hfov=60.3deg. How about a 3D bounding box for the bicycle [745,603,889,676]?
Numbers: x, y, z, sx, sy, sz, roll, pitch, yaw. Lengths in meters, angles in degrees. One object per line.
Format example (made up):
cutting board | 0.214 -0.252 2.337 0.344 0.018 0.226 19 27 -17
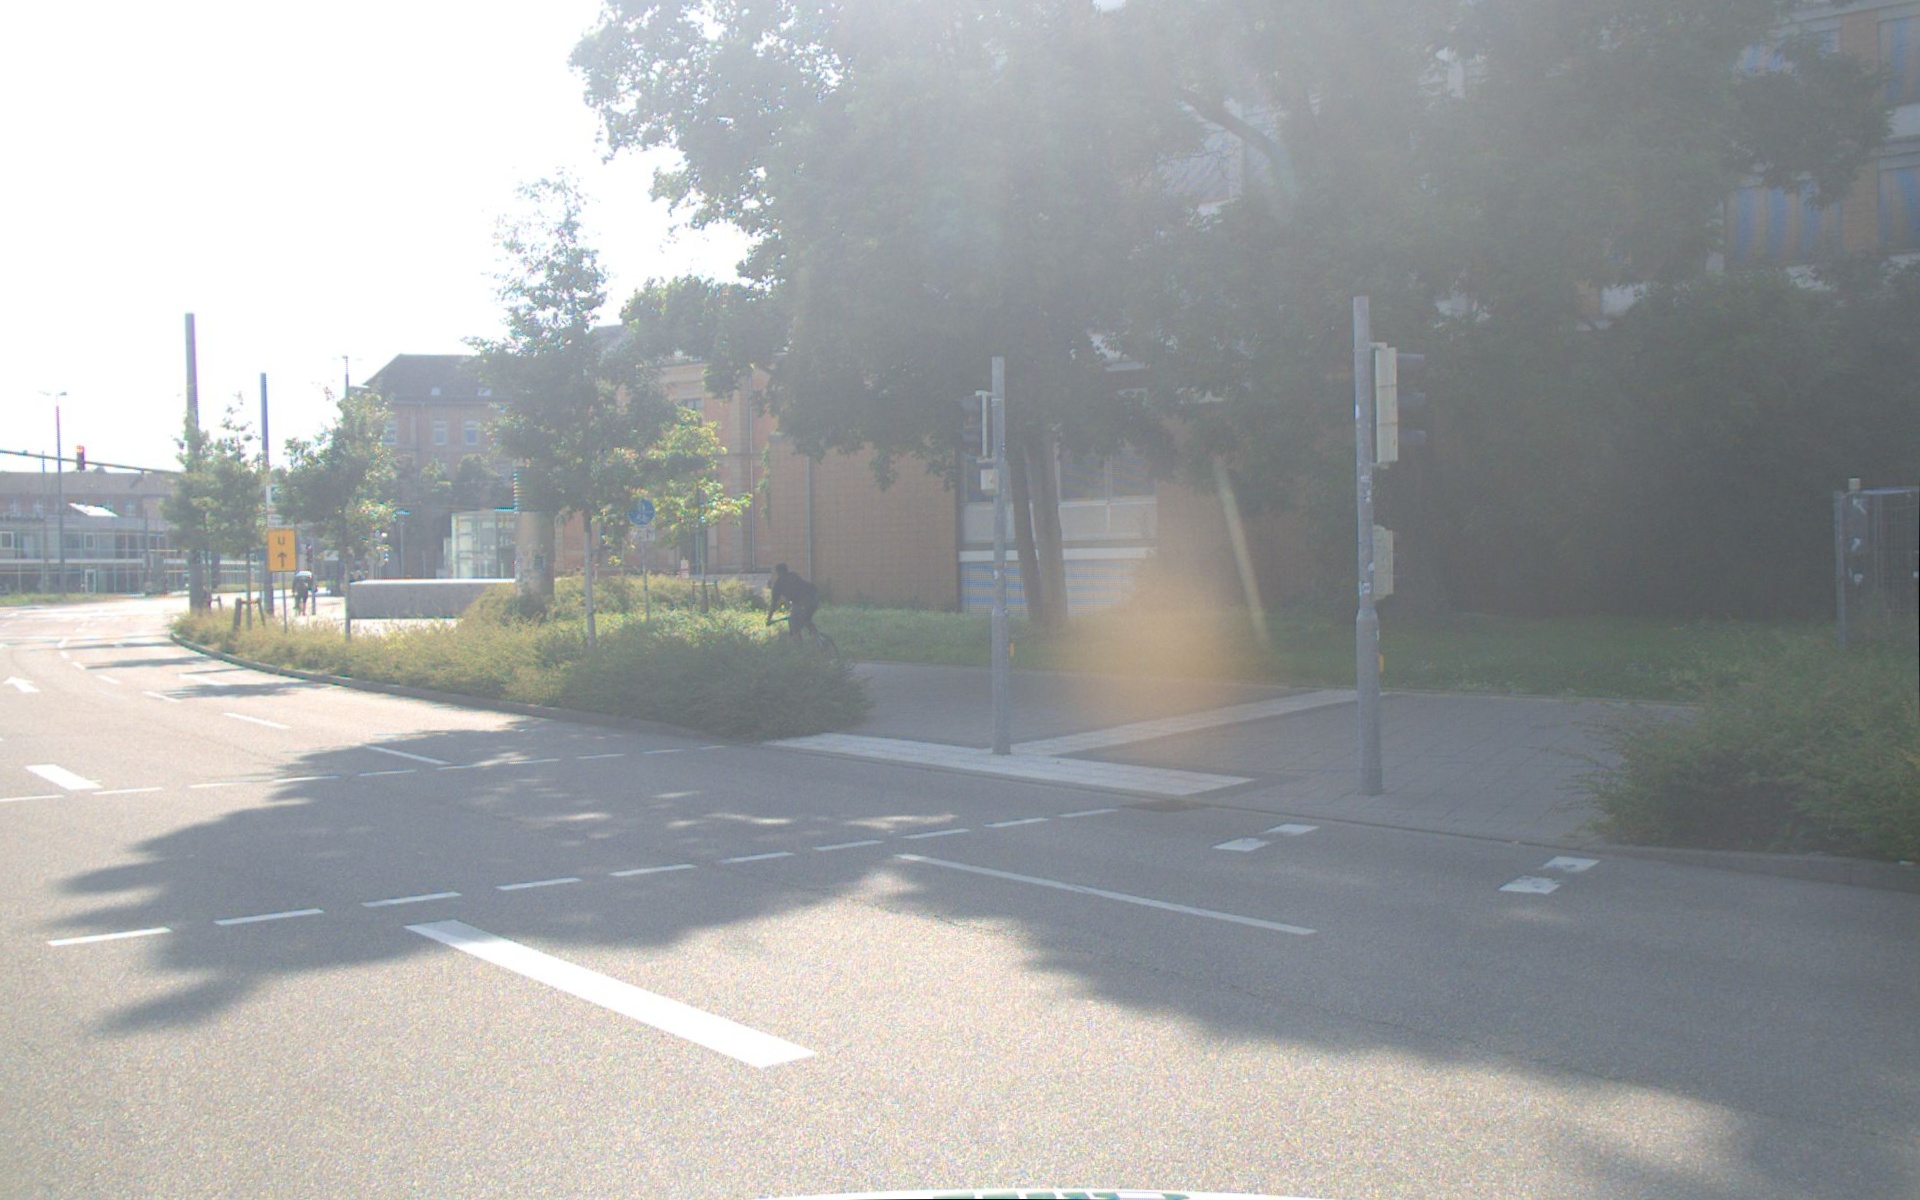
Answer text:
bicycle | -2.084 0.547 23.849 2.108 0.993 0.771 0 1 38

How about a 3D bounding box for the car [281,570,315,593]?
car | -63.398 -1.774 158.466 2.372 2.048 4.760 -1 1 -15

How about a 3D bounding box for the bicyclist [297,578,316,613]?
bicyclist | -29.353 -0.208 74.330 0.702 1.556 0.802 -1 1 -19

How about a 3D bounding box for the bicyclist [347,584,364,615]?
bicyclist | -28.073 -0.049 76.802 0.695 1.418 0.825 -1 1 -19

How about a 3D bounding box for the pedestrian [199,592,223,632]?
pedestrian | -26.699 0.433 58.937 0.631 1.385 0.626 -2 1 -36

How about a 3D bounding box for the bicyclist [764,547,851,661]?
bicyclist | -2.202 0.051 23.928 0.971 1.606 0.771 0 1 38

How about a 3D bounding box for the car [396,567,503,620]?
car | -21.221 -0.320 68.848 1.720 2.048 3.982 3 3 38

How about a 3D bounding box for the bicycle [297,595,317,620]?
bicycle | -29.334 0.311 74.324 0.695 1.080 1.972 -1 1 -18

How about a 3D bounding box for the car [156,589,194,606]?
car | -72.507 -0.228 152.815 1.956 1.467 3.993 -1 1 -8
